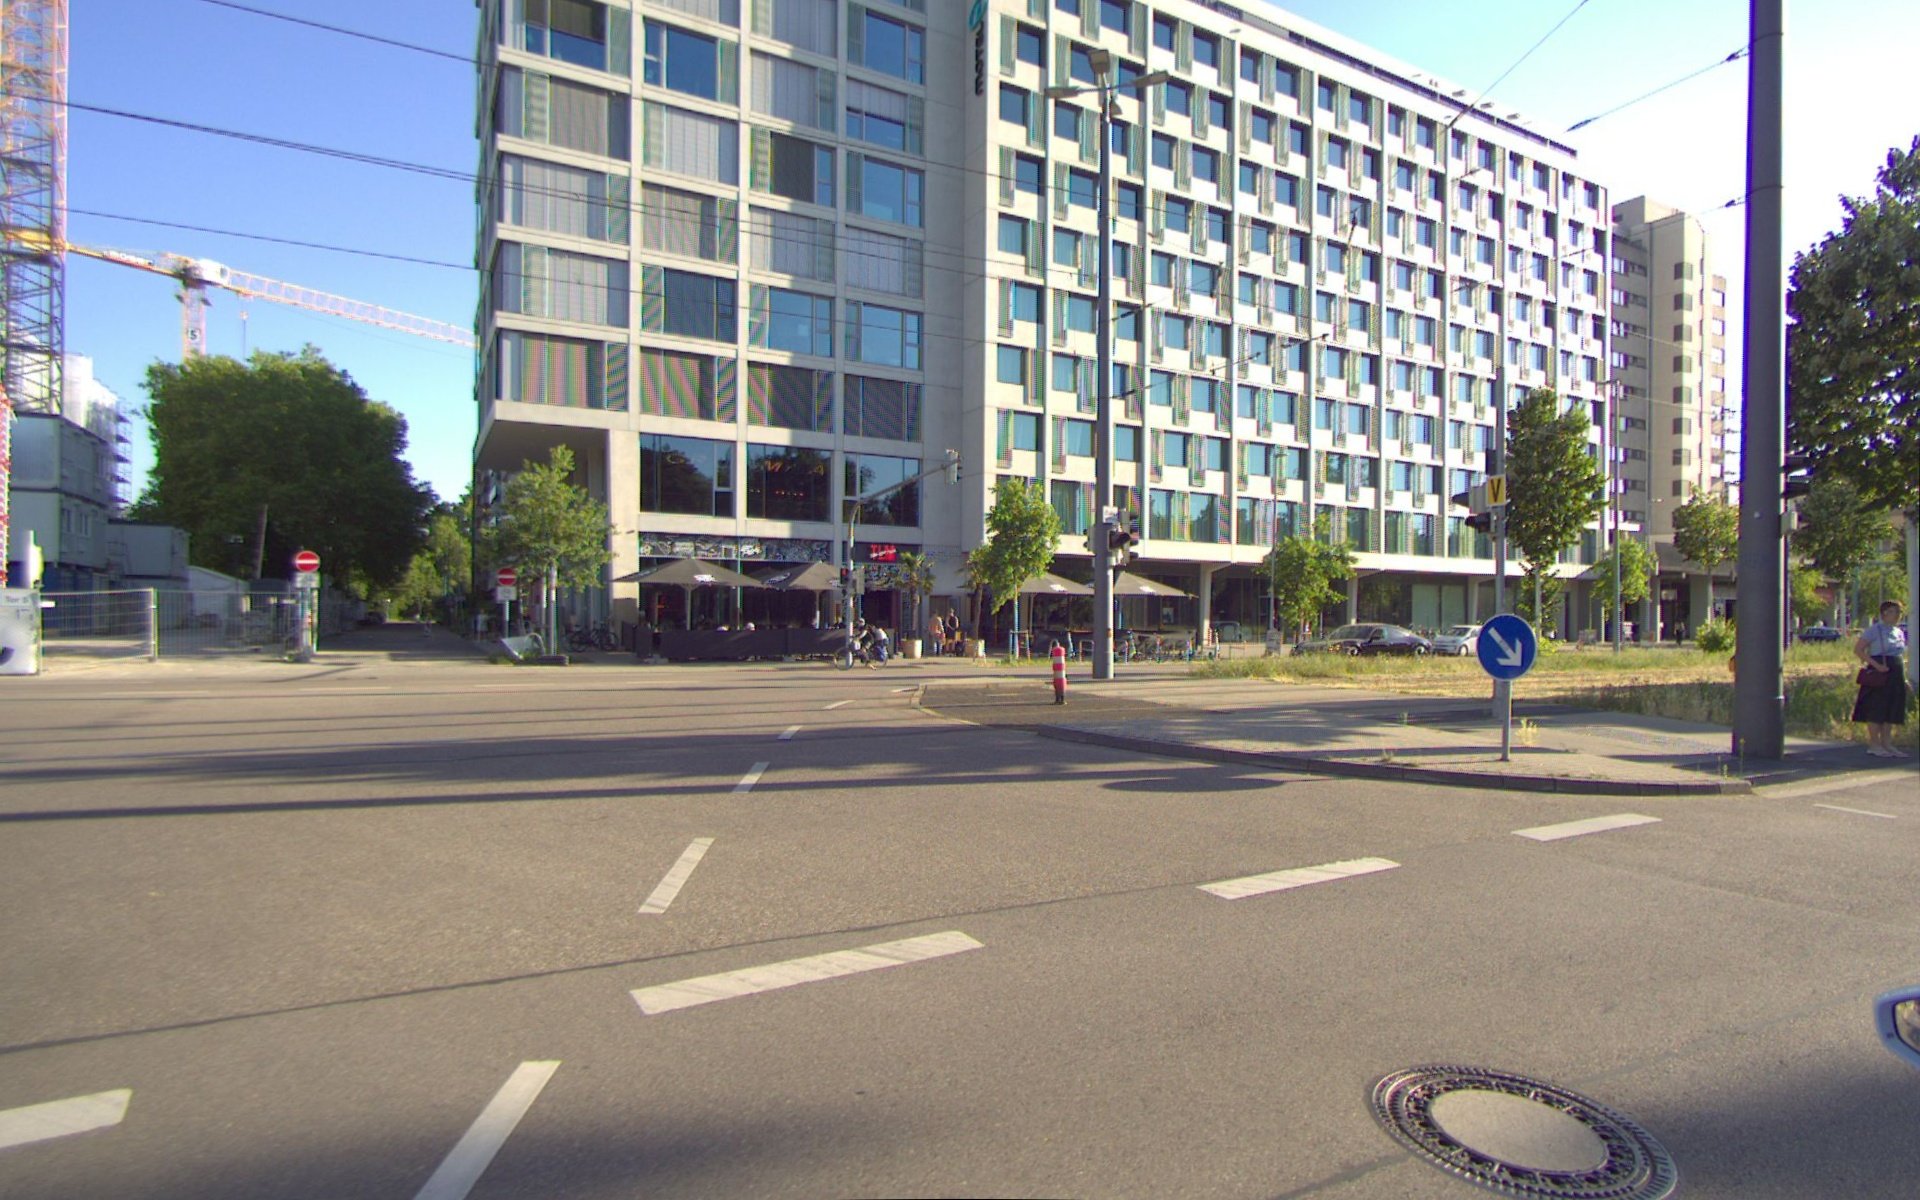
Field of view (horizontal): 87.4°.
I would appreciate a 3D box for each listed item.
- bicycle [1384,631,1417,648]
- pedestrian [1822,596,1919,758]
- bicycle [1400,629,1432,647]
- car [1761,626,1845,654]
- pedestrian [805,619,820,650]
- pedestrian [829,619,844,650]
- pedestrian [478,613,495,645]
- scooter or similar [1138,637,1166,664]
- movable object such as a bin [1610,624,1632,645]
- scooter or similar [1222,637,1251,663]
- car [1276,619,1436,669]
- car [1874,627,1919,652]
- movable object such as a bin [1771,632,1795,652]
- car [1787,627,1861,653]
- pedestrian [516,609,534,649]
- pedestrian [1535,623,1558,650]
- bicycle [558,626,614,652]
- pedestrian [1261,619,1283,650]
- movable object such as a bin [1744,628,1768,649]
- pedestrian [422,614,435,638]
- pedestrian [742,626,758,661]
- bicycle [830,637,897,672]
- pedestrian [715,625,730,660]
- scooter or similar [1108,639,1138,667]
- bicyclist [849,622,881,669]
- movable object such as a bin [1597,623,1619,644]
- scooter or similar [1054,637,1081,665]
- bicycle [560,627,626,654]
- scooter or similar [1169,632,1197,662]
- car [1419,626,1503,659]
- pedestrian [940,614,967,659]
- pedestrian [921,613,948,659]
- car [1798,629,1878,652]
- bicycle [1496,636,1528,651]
[{"bbox_3d":[25.587,2.278,58.353,0.507,0.917,1.792,1,-1,-35],"label":"bicycle"},{"bbox_3d":[10.101,0.832,11.126,0.704,1.722,0.597,1,-1,-24],"label":"pedestrian"},{"bbox_3d":[27.021,2.267,59.533,0.477,0.979,1.743,1,0,-29],"label":"bicycle"},{"bbox_3d":[58.108,2.732,69.339,4.016,1.622,1.749,3,2,20],"label":"car"},{"bbox_3d":[-6.037,1.406,41.130,0.491,1.238,0.430,1,-1,-29],"label":"pedestrian"},{"bbox_3d":[-5.131,1.425,41.611,0.491,1.238,0.430,1,-1,-29],"label":"pedestrian"},{"bbox_3d":[-23.249,1.440,49.317,0.694,1.555,0.580,1,-1,-23],"label":"pedestrian"},{"bbox_3d":[7.586,1.993,39.694,0.429,1.033,1.238,1,-1,-28],"label":"scooter or similar"},{"bbox_3d":[46.250,2.391,70.292,1.386,1.459,0.796,1,-1,-30],"label":"movable object such as a bin"},{"bbox_3d":[11.510,2.074,41.872,0.429,1.033,1.238,1,-1,-28],"label":"scooter or similar"},{"bbox_3d":[11.789,1.274,29.825,4.793,1.361,1.882,1,-1,-30],"label":"car"},{"bbox_3d":[73.171,3.051,77.323,3.685,1.853,1.824,1,0,21],"label":"car"},{"bbox_3d":[54.066,2.732,65.983,0.924,1.297,0.858,1,-1,-15],"label":"movable object such as a bin"},{"bbox_3d":[61.159,2.819,71.150,3.554,1.543,1.620,2,1,20],"label":"car"},{"bbox_3d":[-16.573,1.104,38.282,0.570,1.518,0.583,1,-1,-29],"label":"pedestrian"},{"bbox_3d":[36.738,2.282,62.930,0.958,1.675,0.840,1,-1,-28],"label":"pedestrian"},{"bbox_3d":[-13.976,1.466,37.534,1.879,0.948,0.533,1,-1,-31],"label":"bicycle"},{"bbox_3d":[17.368,1.929,55.908,1.037,1.693,0.980,0,-1,10],"label":"pedestrian"},{"bbox_3d":[53.131,2.554,67.038,0.924,1.376,0.858,1,-1,-15],"label":"movable object such as a bin"},{"bbox_3d":[-34.531,1.672,65.218,0.701,1.568,0.674,1,-1,-27],"label":"pedestrian"},{"bbox_3d":[-7.384,1.515,35.288,0.428,1.210,0.362,1,-1,-32],"label":"pedestrian"},{"bbox_3d":[-3.067,1.726,32.080,2.052,1.081,0.622,1,-1,-29],"label":"bicycle"},{"bbox_3d":[-8.335,1.493,35.239,0.428,1.210,0.362,1,-1,-32],"label":"pedestrian"},{"bbox_3d":[6.291,2.054,38.916,0.504,1.033,1.238,1,-1,-28],"label":"scooter or similar"},{"bbox_3d":[-3.046,1.443,32.087,0.841,1.484,0.622,1,-1,-29],"label":"bicyclist"},{"bbox_3d":[45.835,2.379,71.055,1.386,1.459,0.796,1,-1,-30],"label":"movable object such as a bin"},{"bbox_3d":[4.070,1.925,38.097,0.401,1.019,1.238,1,-1,-28],"label":"scooter or similar"},{"bbox_3d":[-13.420,1.482,36.767,2.190,0.948,0.615,1,-1,-31],"label":"bicycle"},{"bbox_3d":[9.075,1.915,40.835,0.401,1.187,1.238,1,-1,-28],"label":"scooter or similar"},{"bbox_3d":[24.691,2.060,49.502,3.824,1.512,1.878,1,0,-28],"label":"car"},{"bbox_3d":[-0.270,1.410,39.266,0.791,1.744,0.868,1,-1,-20],"label":"pedestrian"},{"bbox_3d":[-0.986,1.395,38.941,0.791,1.744,0.868,1,-1,-20],"label":"pedestrian"},{"bbox_3d":[63.509,2.937,72.726,3.919,1.472,1.787,1,0,13],"label":"car"},{"bbox_3d":[34.989,2.758,63.680,0.506,0.917,1.794,1,-1,-31],"label":"bicycle"}]
